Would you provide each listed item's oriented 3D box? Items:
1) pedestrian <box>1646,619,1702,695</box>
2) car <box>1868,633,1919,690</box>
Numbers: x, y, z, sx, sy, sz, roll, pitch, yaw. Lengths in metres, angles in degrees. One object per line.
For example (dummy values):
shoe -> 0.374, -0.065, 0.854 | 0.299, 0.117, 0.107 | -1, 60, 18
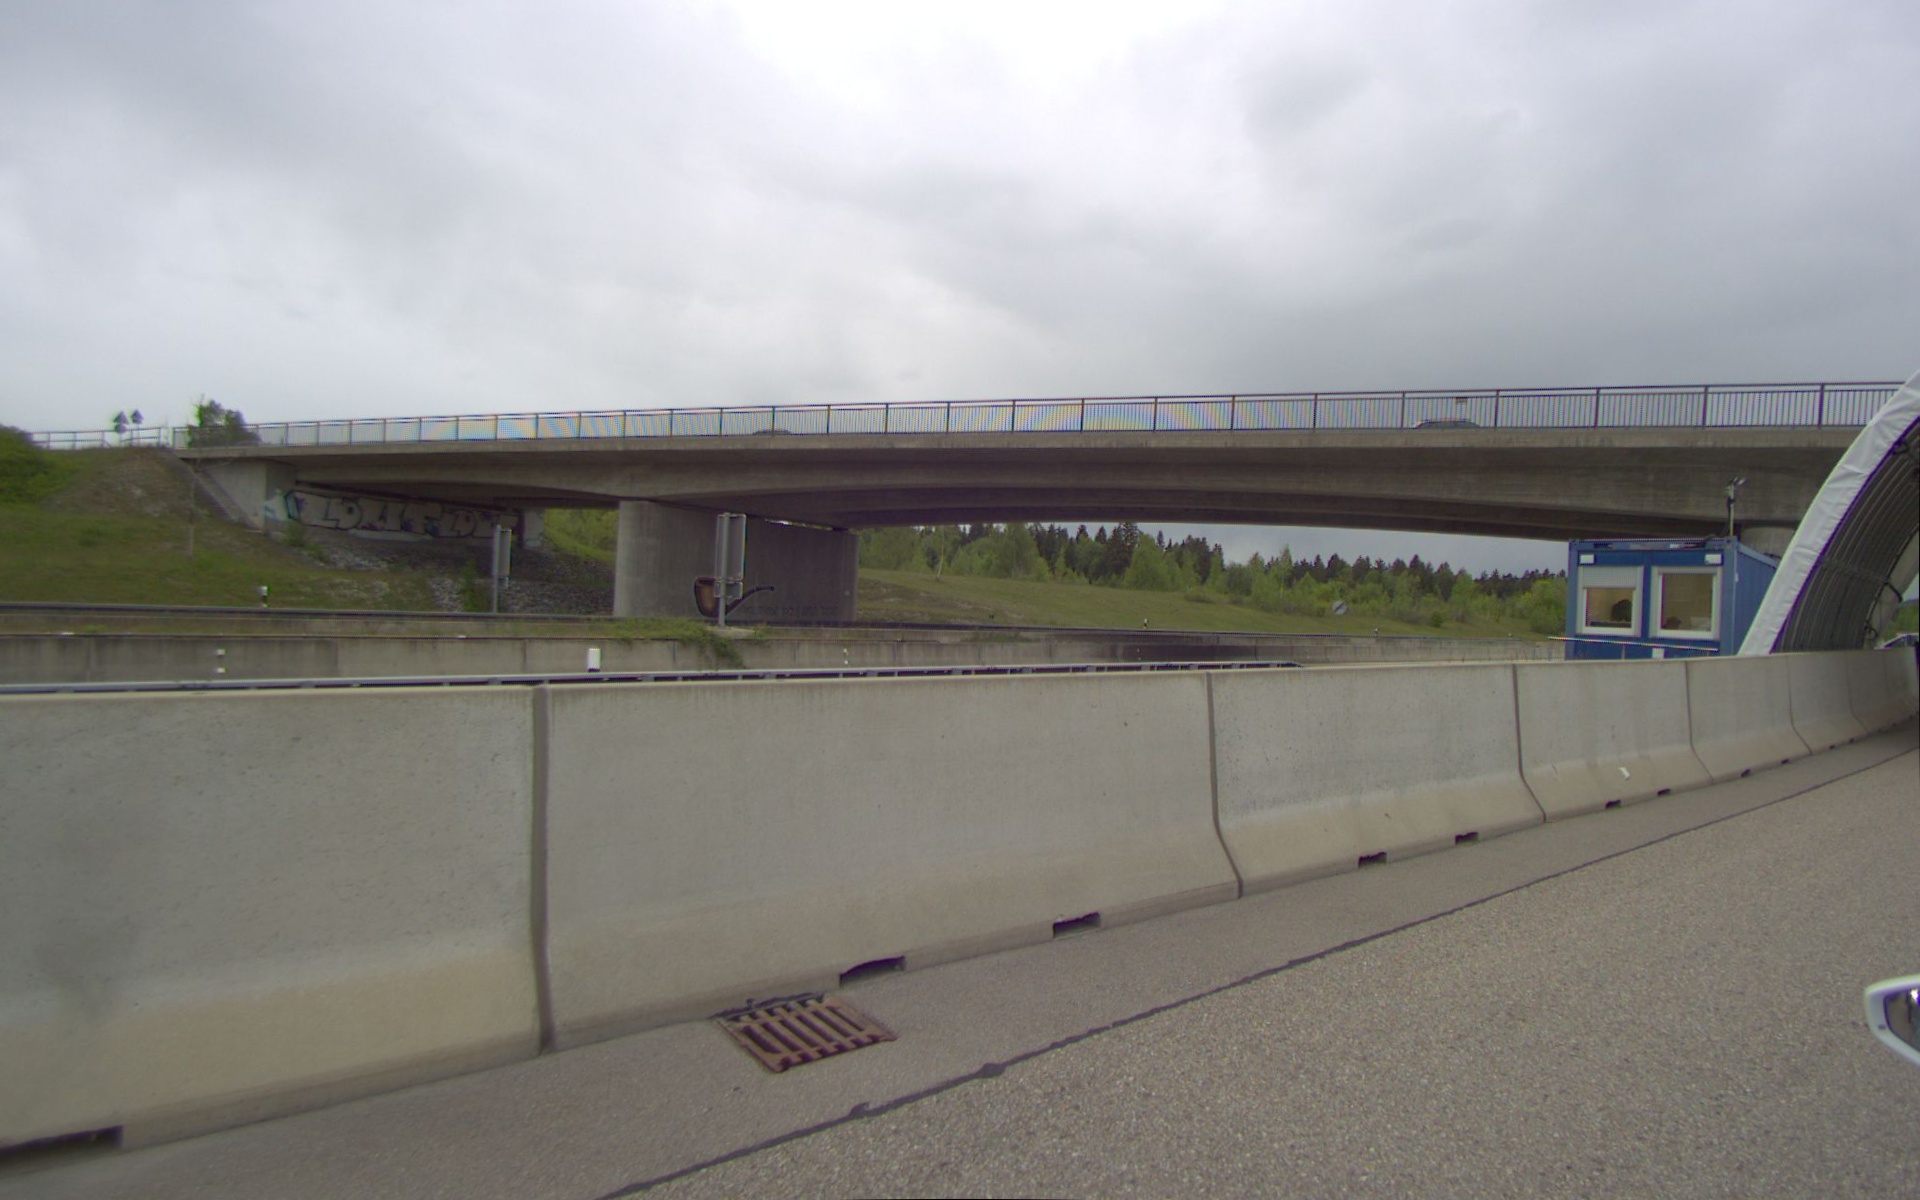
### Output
pedestrian -> 13.305, 1.053, 18.724 | 0.618, 1.391, 0.609 | 2, -1, -21
car -> 36.328, 2.292, 36.401 | 1.814, 2.040, 4.797 | 2, -1, -22
